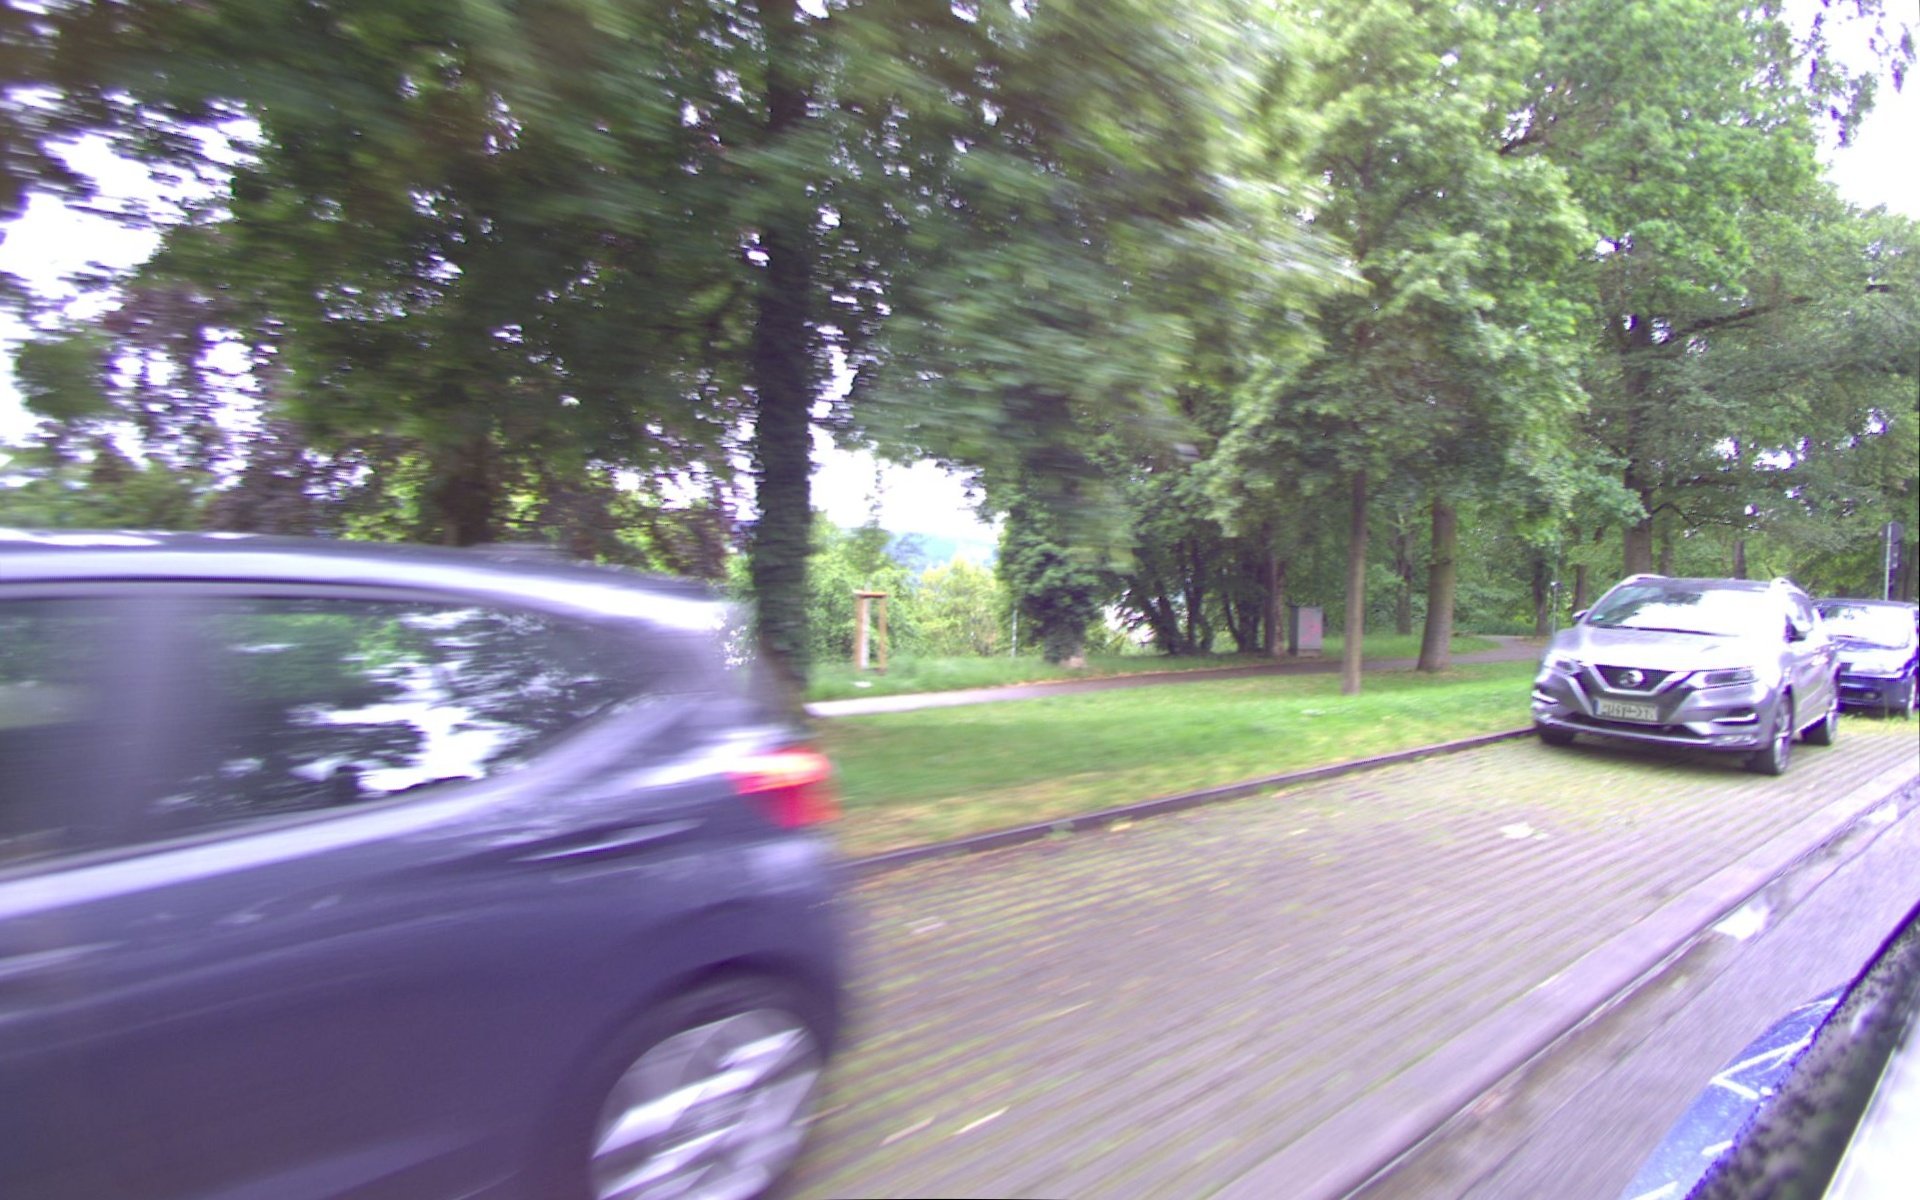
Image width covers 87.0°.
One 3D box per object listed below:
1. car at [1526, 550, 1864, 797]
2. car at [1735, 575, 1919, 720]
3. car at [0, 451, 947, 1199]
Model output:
[{"bbox_3d":[7.030,0.613,9.491,4.190,1.740,1.784,4,1,-44],"label":"car"},{"bbox_3d":[12.088,0.558,13.410,3.925,1.469,1.751,1,7,-37],"label":"car"},{"bbox_3d":[-2.032,0.520,1.854,3.660,1.530,1.868,1,2,-42],"label":"car"}]
